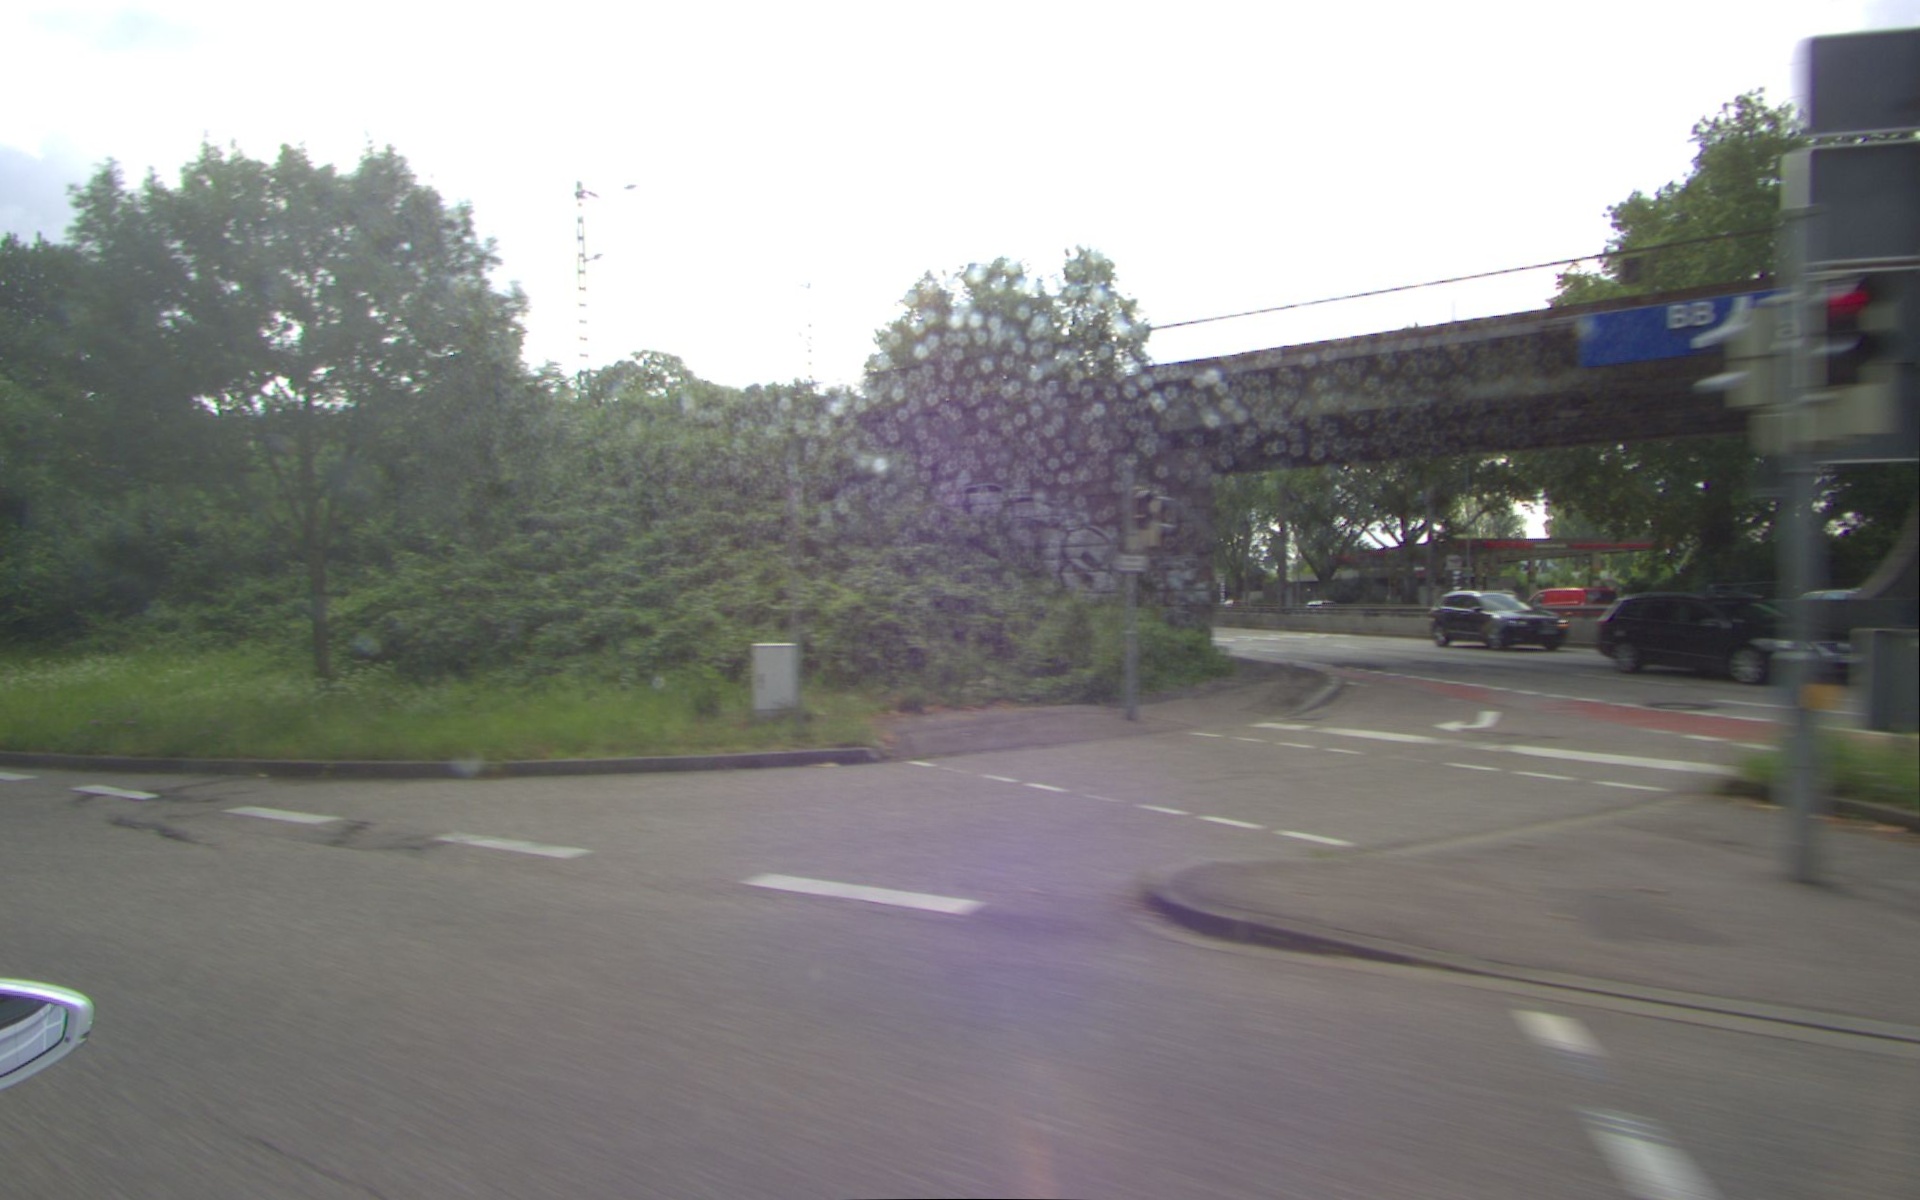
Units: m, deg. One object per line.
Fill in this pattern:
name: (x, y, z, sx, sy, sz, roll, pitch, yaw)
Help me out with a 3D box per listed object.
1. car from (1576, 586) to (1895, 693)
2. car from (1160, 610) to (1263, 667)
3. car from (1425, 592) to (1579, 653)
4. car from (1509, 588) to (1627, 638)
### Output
car: (13.454, 0.612, 17.835, 1.737, 1.604, 4.662, -2, 0, -6)
car: (6.705, 0.996, 27.046, 1.619, 1.416, 3.738, 0, -1, -4)
car: (15.246, 0.620, 28.462, 1.818, 1.596, 4.316, 0, -1, -4)
car: (26.539, 0.539, 43.943, 1.924, 2.044, 4.673, 0, 0, -7)
